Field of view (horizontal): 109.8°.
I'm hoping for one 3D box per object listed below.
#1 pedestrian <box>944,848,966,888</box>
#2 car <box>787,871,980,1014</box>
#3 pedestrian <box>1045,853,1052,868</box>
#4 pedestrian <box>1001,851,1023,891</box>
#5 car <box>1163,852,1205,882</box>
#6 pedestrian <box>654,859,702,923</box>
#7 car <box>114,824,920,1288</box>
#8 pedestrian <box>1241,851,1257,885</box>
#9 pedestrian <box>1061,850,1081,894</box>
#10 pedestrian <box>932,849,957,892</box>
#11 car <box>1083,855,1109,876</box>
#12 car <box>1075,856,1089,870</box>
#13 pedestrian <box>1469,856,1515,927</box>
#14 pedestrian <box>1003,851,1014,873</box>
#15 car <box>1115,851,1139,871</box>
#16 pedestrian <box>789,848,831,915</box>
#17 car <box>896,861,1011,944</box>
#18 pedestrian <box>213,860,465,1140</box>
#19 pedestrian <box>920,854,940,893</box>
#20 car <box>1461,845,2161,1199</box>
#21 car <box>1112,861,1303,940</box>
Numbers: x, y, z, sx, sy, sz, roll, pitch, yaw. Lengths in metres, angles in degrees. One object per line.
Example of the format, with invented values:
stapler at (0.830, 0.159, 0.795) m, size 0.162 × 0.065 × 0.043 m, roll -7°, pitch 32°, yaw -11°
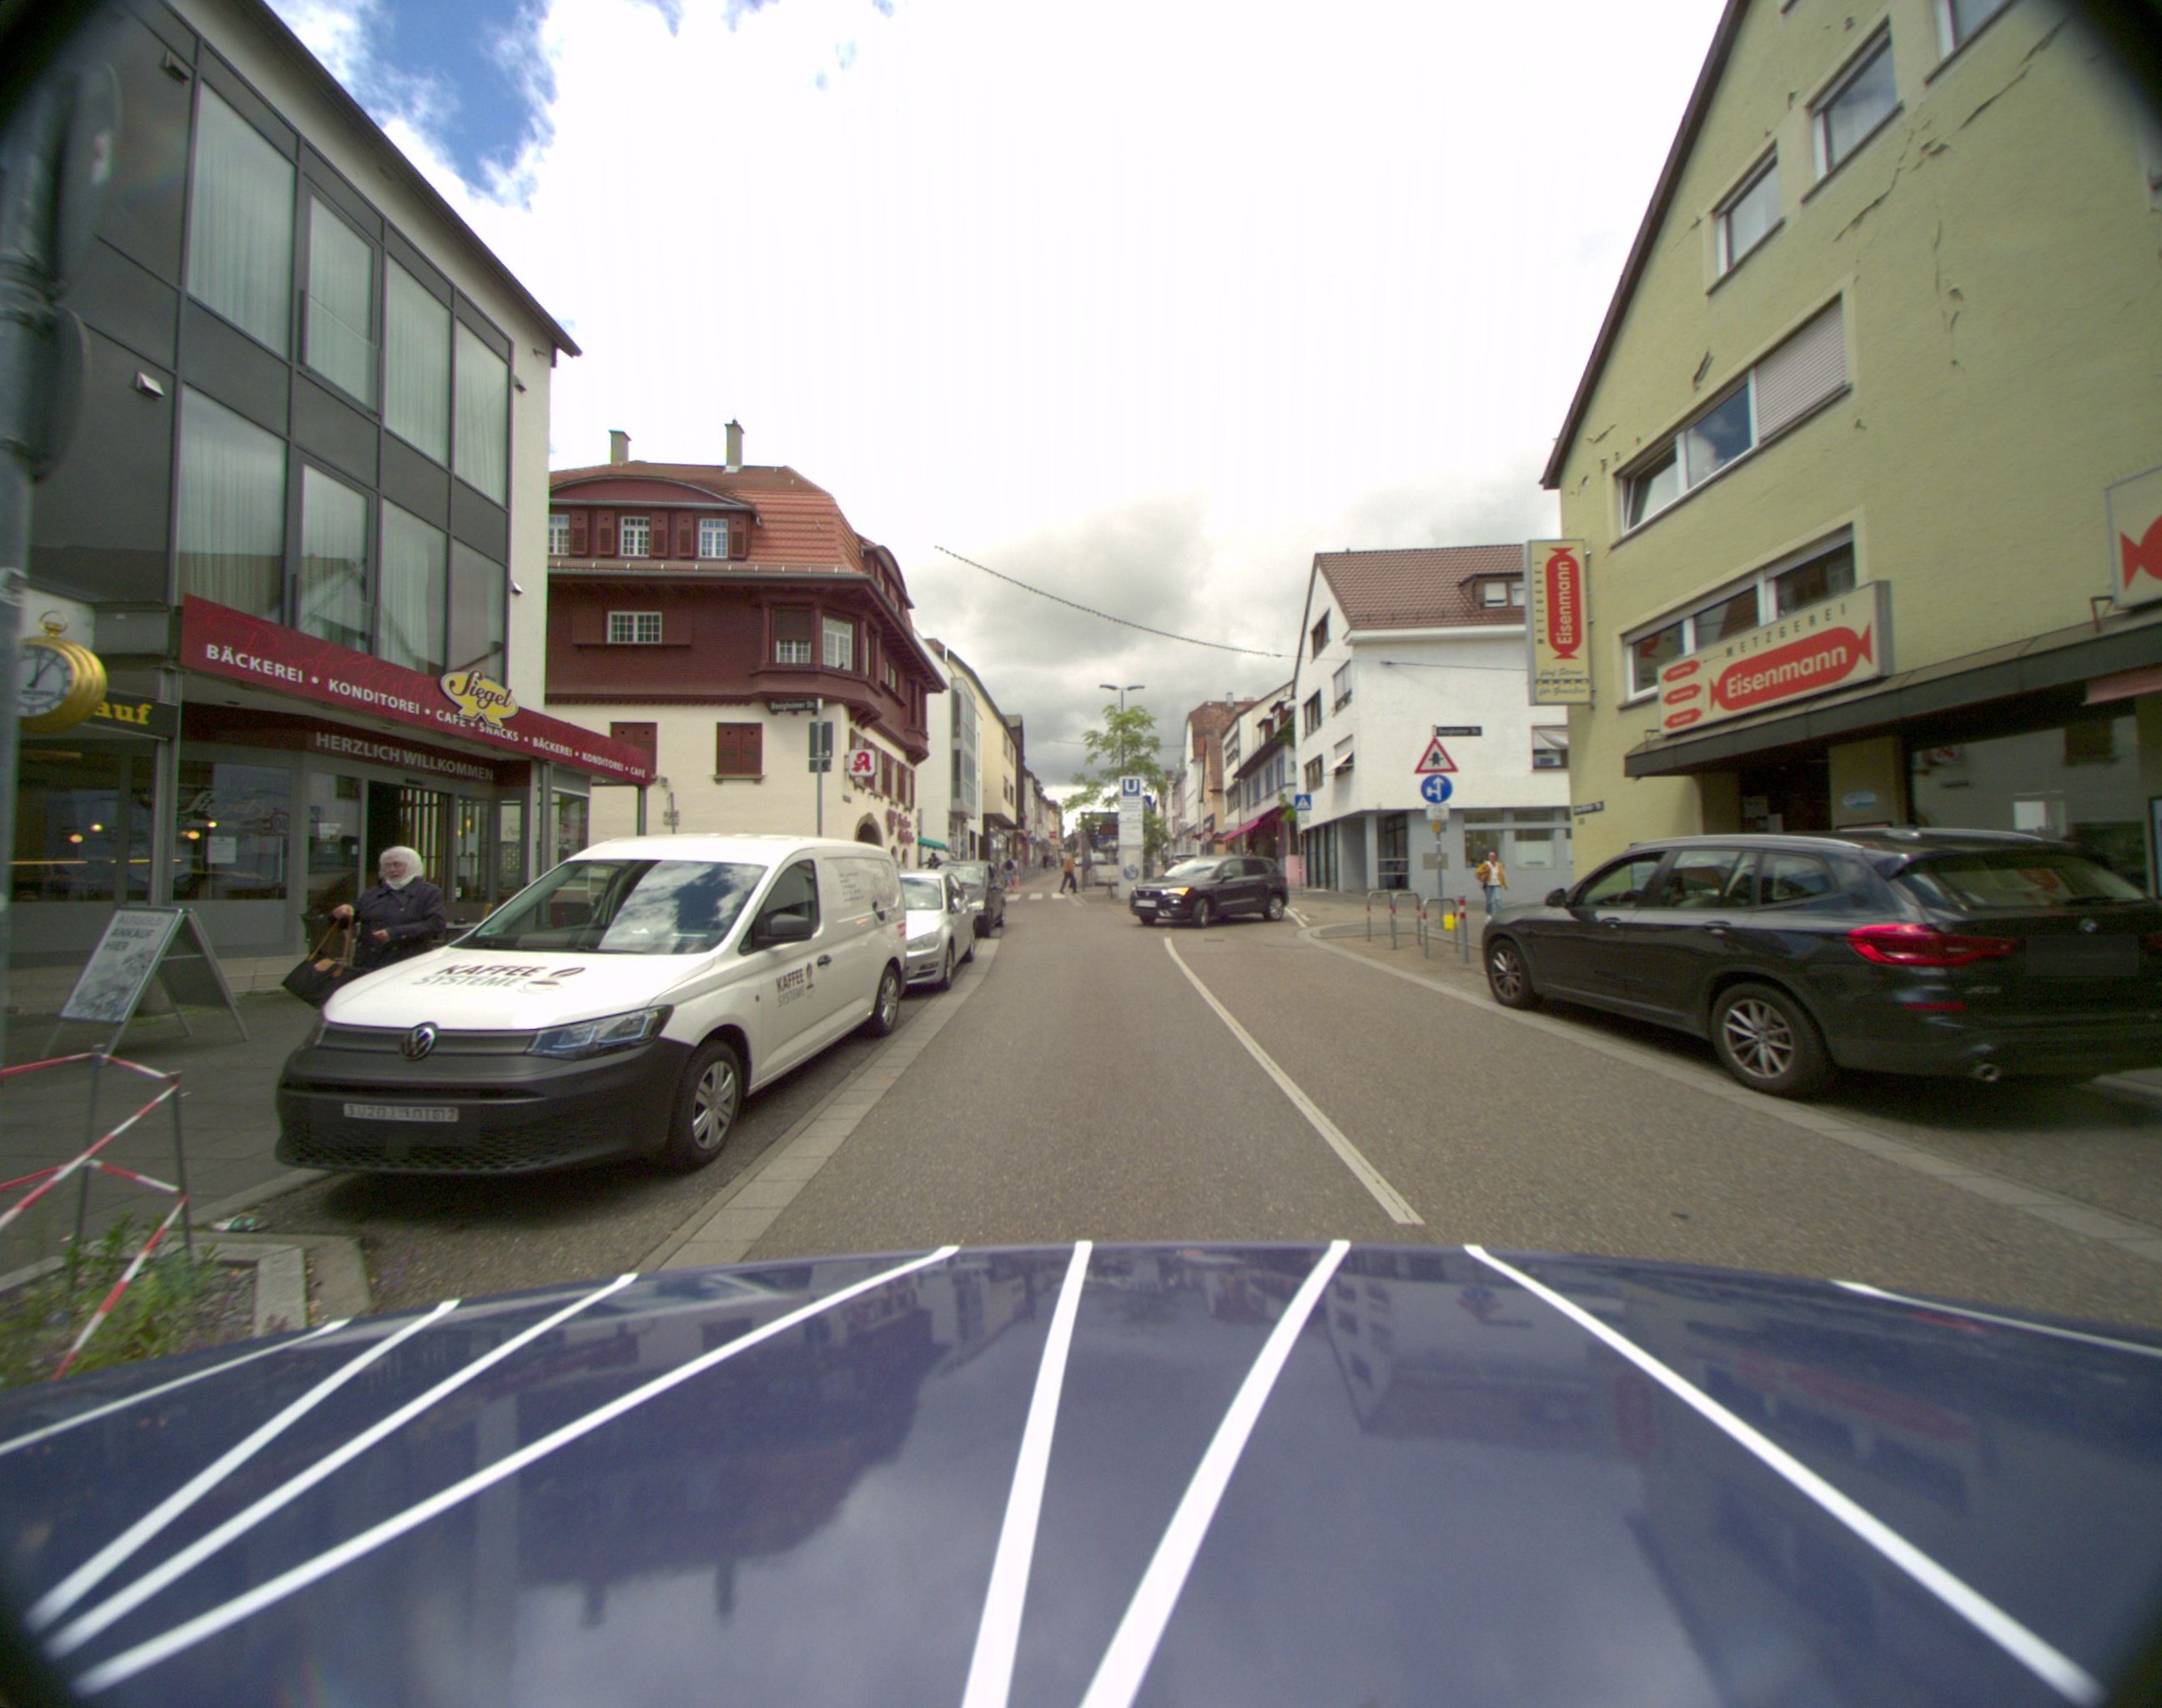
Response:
pedestrian at (-5.623, 0.634, 33.832) m, size 0.701 × 1.756 × 0.627 m, roll 0°, pitch 1°, yaw 26°
car at (-2.422, 1.008, 10.319) m, size 1.707 × 1.459 × 3.999 m, roll 0°, pitch 0°, yaw -2°
pedestrian at (-3.677, 0.702, 85.795) m, size 0.663 × 1.696 × 0.780 m, roll -1°, pitch 1°, yaw -1°
pedestrian at (-3.130, 0.767, 34.497) m, size 0.987 × 1.777 × 0.919 m, roll -1°, pitch 1°, yaw -4°
car at (5.871, 0.695, 43.737) m, size 1.968 × 1.611 × 4.356 m, roll 0°, pitch 0°, yaw 3°
pedestrian at (-10.125, 0.916, 19.107) m, size 0.725 × 1.522 × 0.808 m, roll 2°, pitch 1°, yaw 6°
car at (-2.734, 0.789, 5.337) m, size 1.881 × 1.789 × 4.733 m, roll -1°, pitch 0°, yaw 4°
pedestrian at (8.571, 0.707, 38.774) m, size 0.696 × 1.730 × 0.825 m, roll 0°, pitch 1°, yaw 3°
pedestrian at (-0.408, 0.727, 31.312) m, size 0.676 × 1.791 × 0.787 m, roll -1°, pitch 1°, yaw -12°
pedestrian at (-5.882, 0.693, 32.747) m, size 0.778 × 1.846 × 0.704 m, roll 0°, pitch 1°, yaw 43°
car at (1.194, 0.938, 62.181) m, size 1.999 × 1.557 × 4.431 m, roll -2°, pitch 0°, yaw -1°
car at (0.099, 1.303, 113.587) m, size 1.998 × 2.002 × 4.000 m, roll -1°, pitch 0°, yaw 1°
pedestrian at (10.202, 0.917, 18.872) m, size 0.638 × 1.728 × 0.835 m, roll 1°, pitch 1°, yaw -2°
pedestrian at (-5.657, 0.597, 59.426) m, size 0.759 × 1.663 × 0.780 m, roll 2°, pitch 1°, yaw -1°
car at (3.763, 0.522, 62.475) m, size 1.703 × 1.538 × 3.898 m, roll -2°, pitch 0°, yaw 1°
pedestrian at (-7.216, 0.718, 20.242) m, size 0.776 × 1.759 × 0.817 m, roll -1°, pitch 1°, yaw 2°
car at (-2.717, 0.990, 17.081) m, size 1.808 × 1.546 × 3.953 m, roll -2°, pitch 0°, yaw 1°
pedestrian at (-4.774, 0.877, 4.951) m, size 0.825 × 1.656 × 0.802 m, roll -1°, pitch 1°, yaw 6°
pedestrian at (-6.385, 0.828, 32.227) m, size 0.625 × 1.603 × 0.703 m, roll -1°, pitch 1°, yaw 5°
car at (5.218, 0.844, 6.069) m, size 2.012 × 1.683 × 4.607 m, roll -2°, pitch 0°, yaw 0°
car at (3.037, 0.971, 17.762) m, size 4.380 × 1.560 × 1.910 m, roll -1°, pitch 1°, yaw -37°
